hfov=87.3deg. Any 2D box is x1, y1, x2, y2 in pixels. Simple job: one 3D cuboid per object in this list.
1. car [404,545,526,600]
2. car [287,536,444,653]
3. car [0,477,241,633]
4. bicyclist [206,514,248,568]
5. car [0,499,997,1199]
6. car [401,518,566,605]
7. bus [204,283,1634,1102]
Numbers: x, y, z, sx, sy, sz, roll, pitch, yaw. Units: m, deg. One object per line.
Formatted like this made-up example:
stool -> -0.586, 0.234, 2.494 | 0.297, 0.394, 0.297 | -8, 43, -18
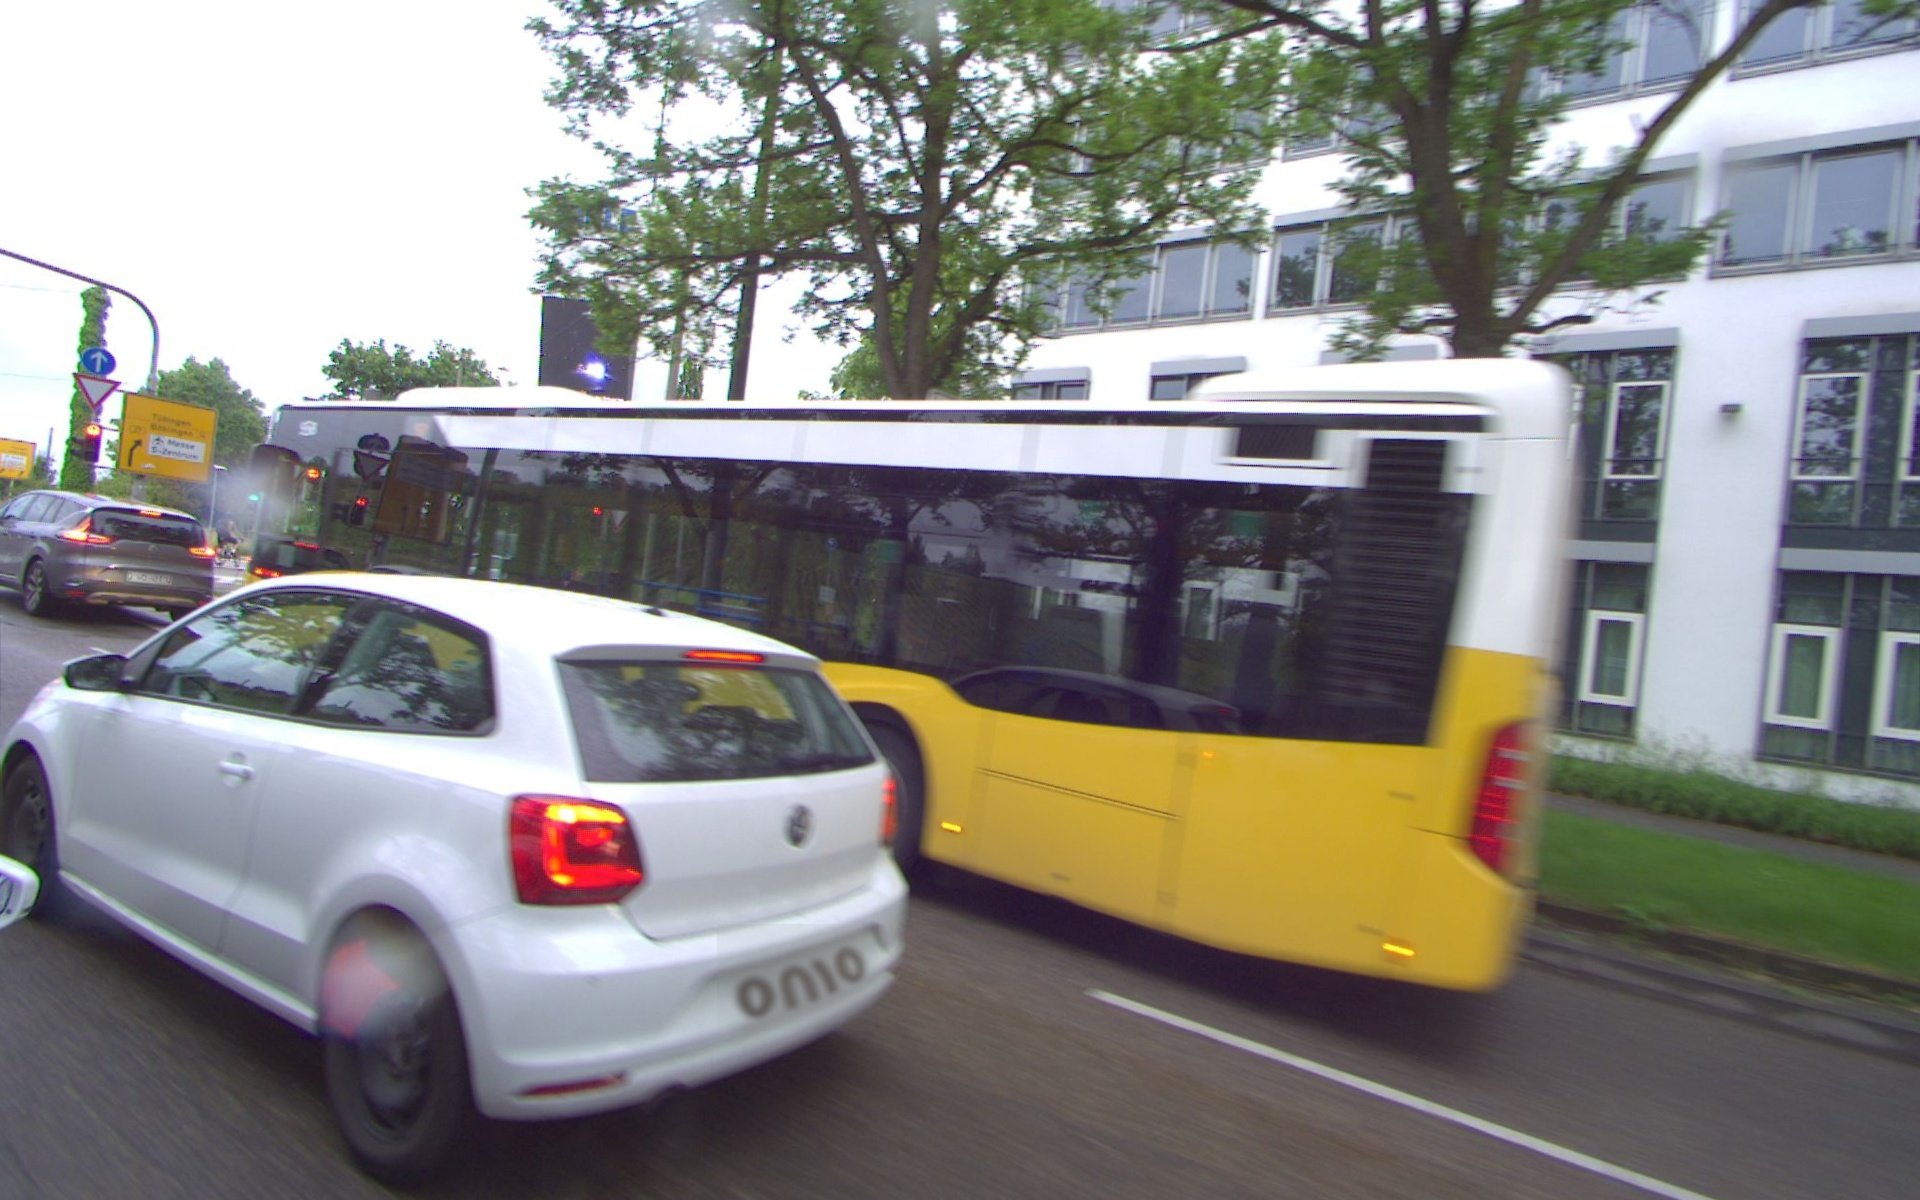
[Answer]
car -> -19.628, -1.045, 39.929 | 4.025, 1.586, 1.855 | 9, -4, -34
car -> -9.498, -0.102, 16.378 | 1.848, 1.516, 4.125 | 5, -1, -27
car -> -12.576, -0.717, 14.492 | 4.489, 1.694, 1.869 | 7, -1, 32
bicyclist -> -23.867, -1.900, 32.771 | 0.803, 1.601, 1.015 | 9, -2, -30
car -> -1.990, 0.575, 3.770 | 3.748, 1.447, 1.745 | 6, -3, 31
car -> -20.342, -1.555, 43.037 | 5.969, 2.772, 2.066 | 9, -3, -31
bus -> -1.865, -0.114, 8.288 | 11.947, 3.187, 2.733 | 7, -2, 33
